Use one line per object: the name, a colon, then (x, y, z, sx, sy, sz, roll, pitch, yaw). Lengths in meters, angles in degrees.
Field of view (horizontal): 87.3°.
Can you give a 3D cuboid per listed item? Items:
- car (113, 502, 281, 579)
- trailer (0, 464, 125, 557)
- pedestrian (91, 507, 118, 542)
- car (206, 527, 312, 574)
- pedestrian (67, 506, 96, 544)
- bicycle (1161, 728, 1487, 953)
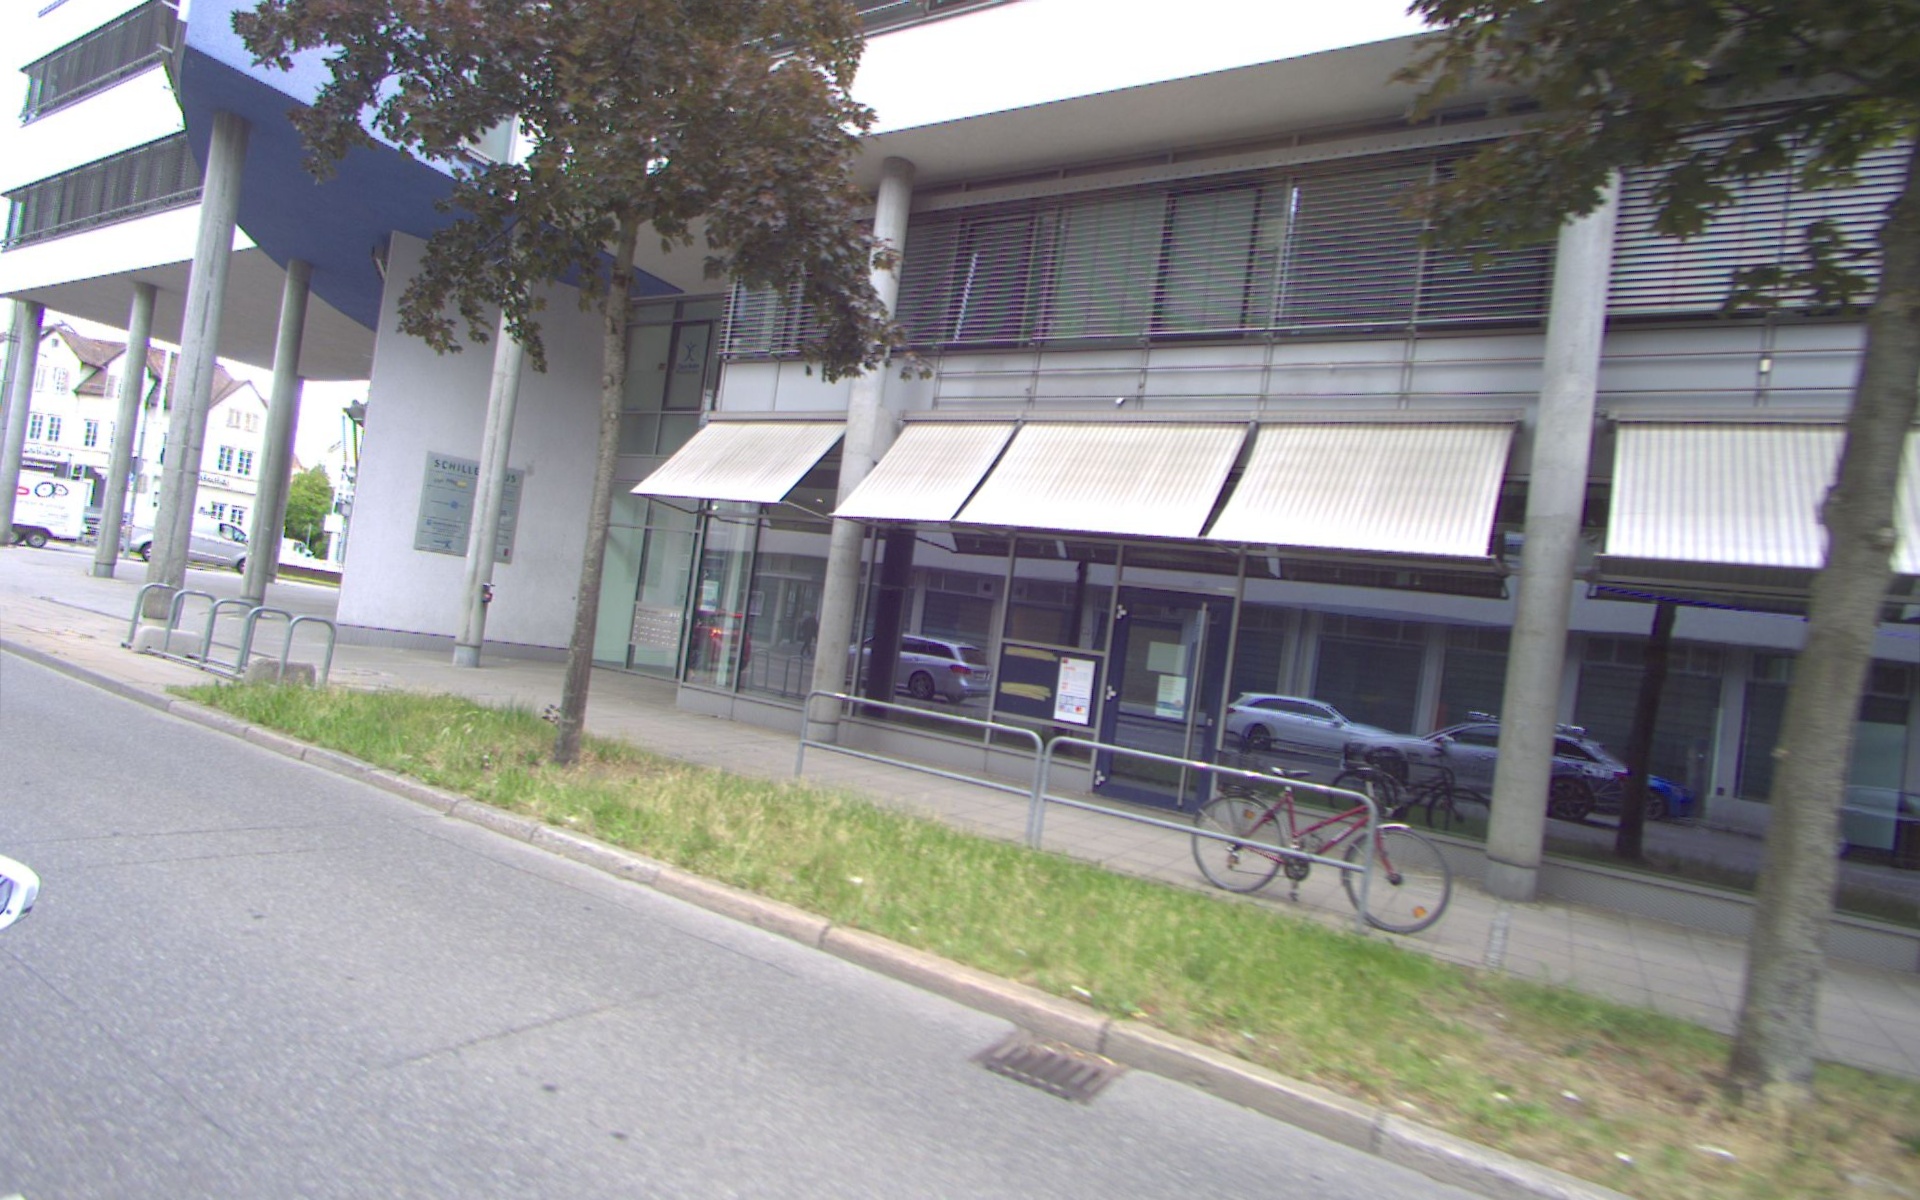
car: (-29.211, -2.231, 38.617, 4.878, 1.966, 1.863, 12, -4, -41)
trailer: (-32.268, -3.195, 35.023, 1.851, 2.643, 4.322, 7, -2, 27)
pedestrian: (-46.504, -4.089, 54.693, 0.781, 1.737, 0.645, 10, -2, -27)
car: (-42.457, -2.962, 61.039, 4.702, 1.939, 1.990, 9, -3, -7)
pedestrian: (-43.914, -3.732, 50.303, 0.638, 1.738, 0.704, 8, -1, -3)
bicycle: (2.489, 1.605, 7.029, 1.993, 1.098, 0.362, 7, -2, 30)
